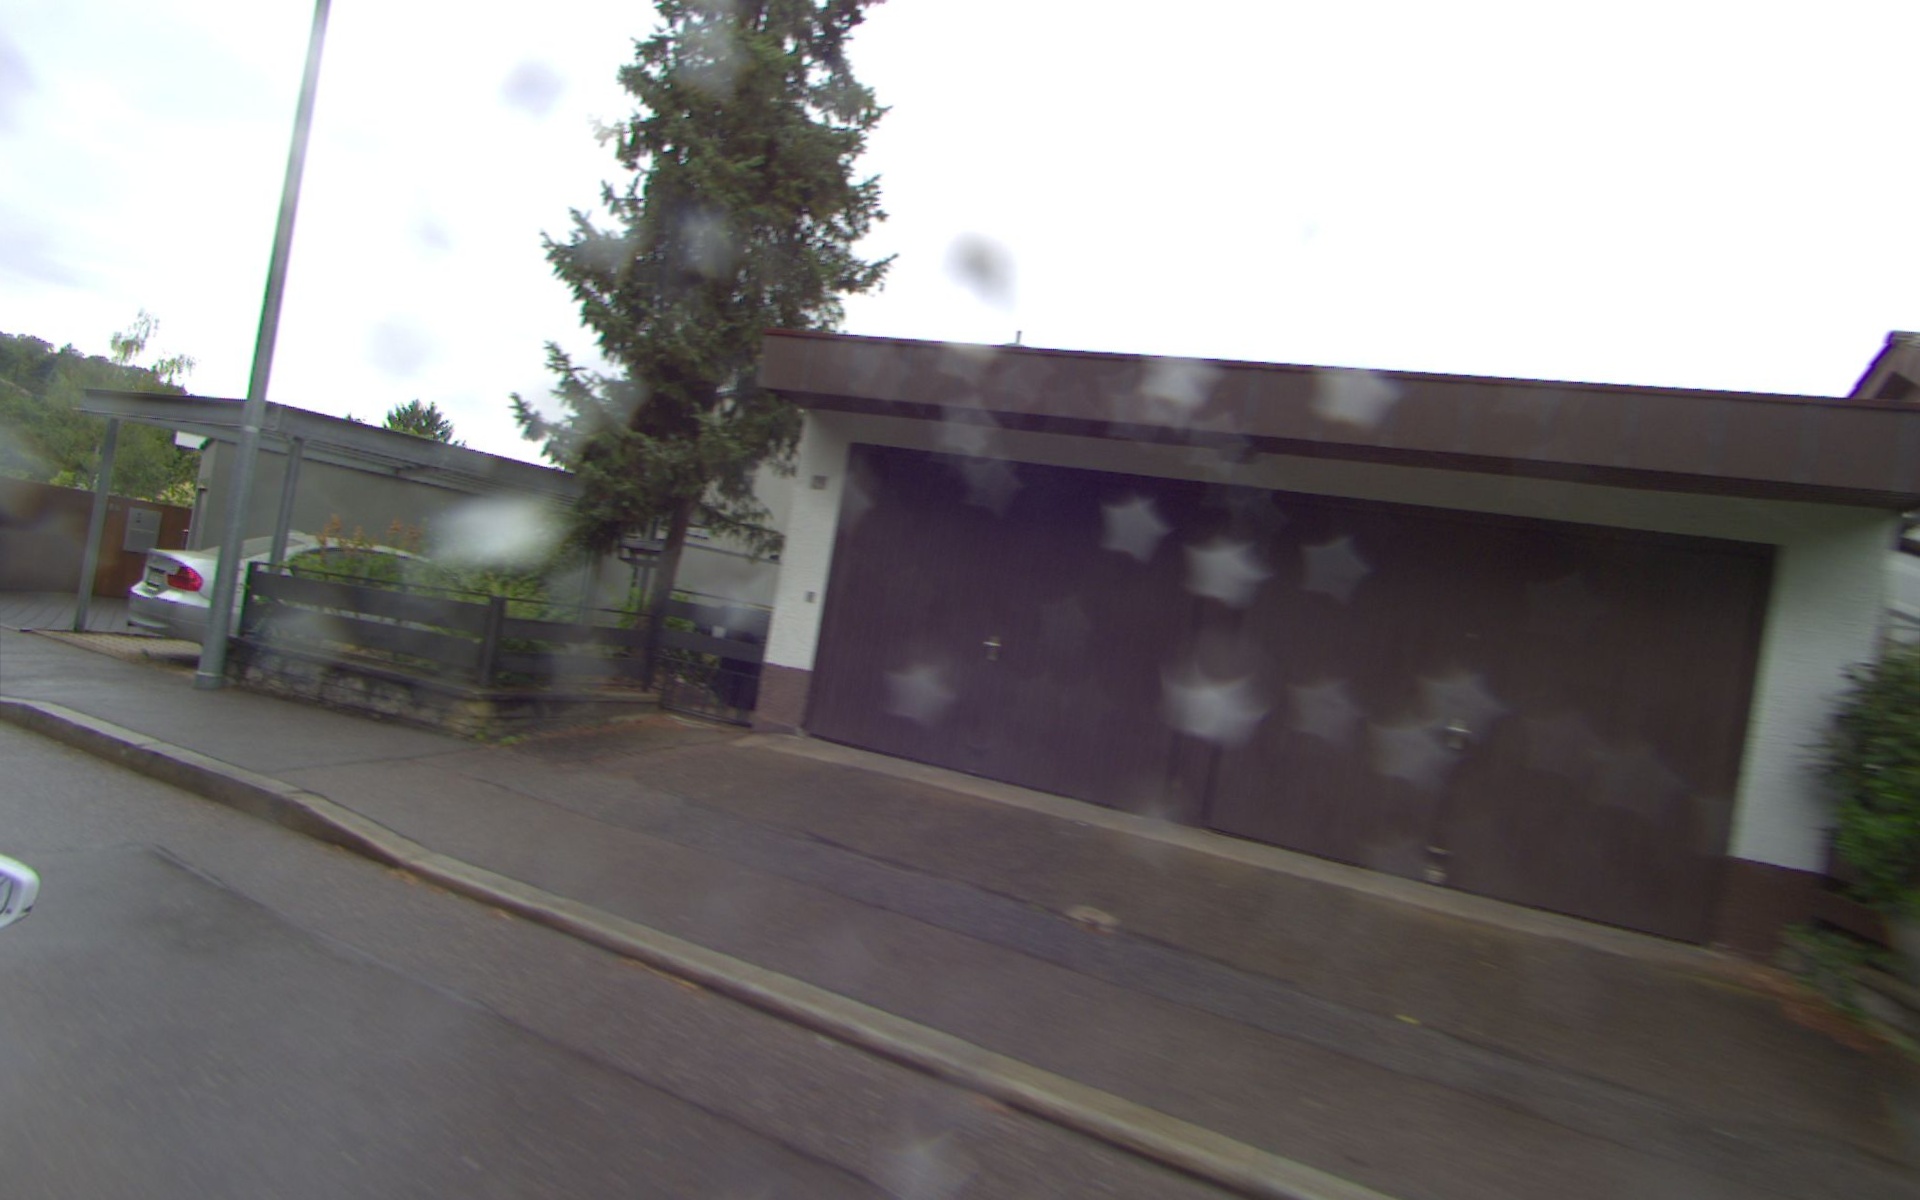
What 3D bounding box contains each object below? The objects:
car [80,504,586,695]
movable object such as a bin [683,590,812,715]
[{"bbox_3d":[-6.608,0.088,11.017,1.914,1.430,4.218,5,-4,39],"label":"car"},{"bbox_3d":[-2.098,0.535,9.994,0.765,1.051,0.798,9,-4,25],"label":"movable object such as a bin"}]
